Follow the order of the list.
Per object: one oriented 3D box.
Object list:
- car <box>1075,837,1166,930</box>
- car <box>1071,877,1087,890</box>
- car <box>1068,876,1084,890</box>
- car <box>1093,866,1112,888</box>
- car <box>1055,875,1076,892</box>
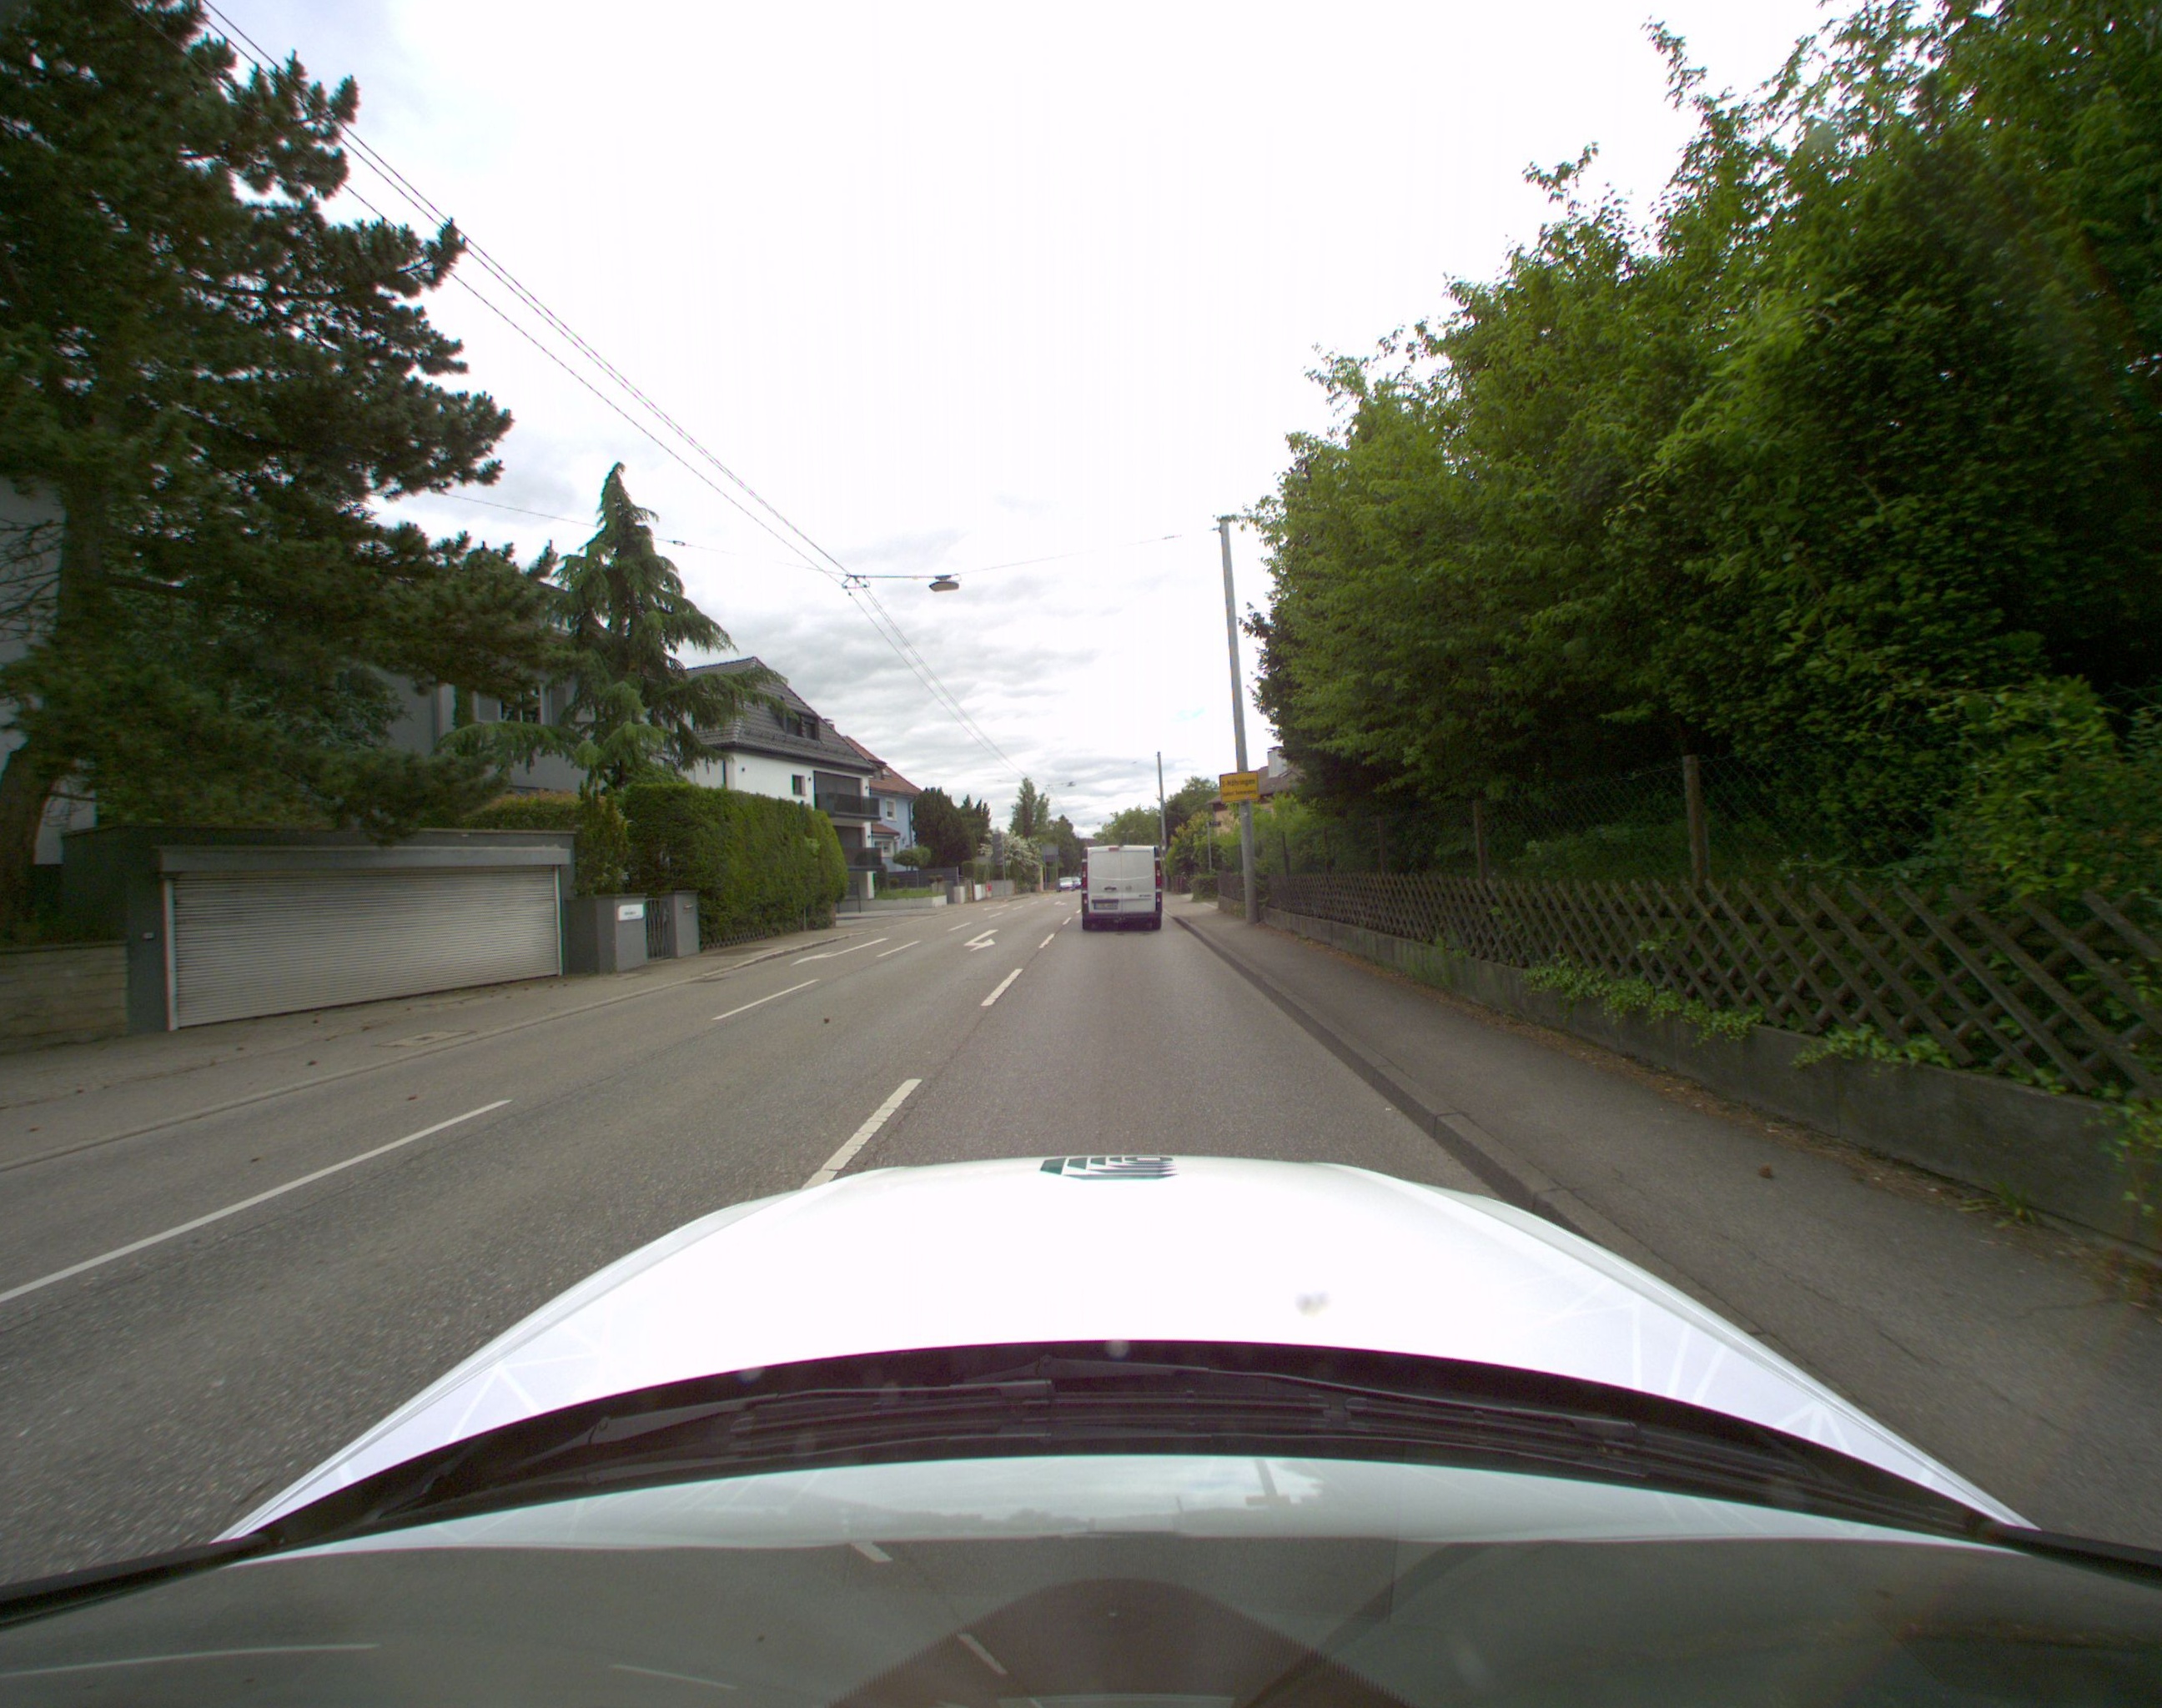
[{"bbox_3d":[0.986,0.670,20.609,1.998,2.038,5.013,-1,-1,2],"label":"car"},{"bbox_3d":[-0.243,3.844,107.726,1.749,1.494,4.195,-4,-2,2],"label":"car"},{"bbox_3d":[-0.586,3.598,99.833,1.672,1.556,3.974,-5,-2,3],"label":"car"},{"bbox_3d":[2.926,3.017,107.847,2.102,2.498,6.131,-3,1,4],"label":"car"},{"bbox_3d":[-1.575,3.045,84.733,1.802,1.455,4.415,-5,-2,2],"label":"car"}]
